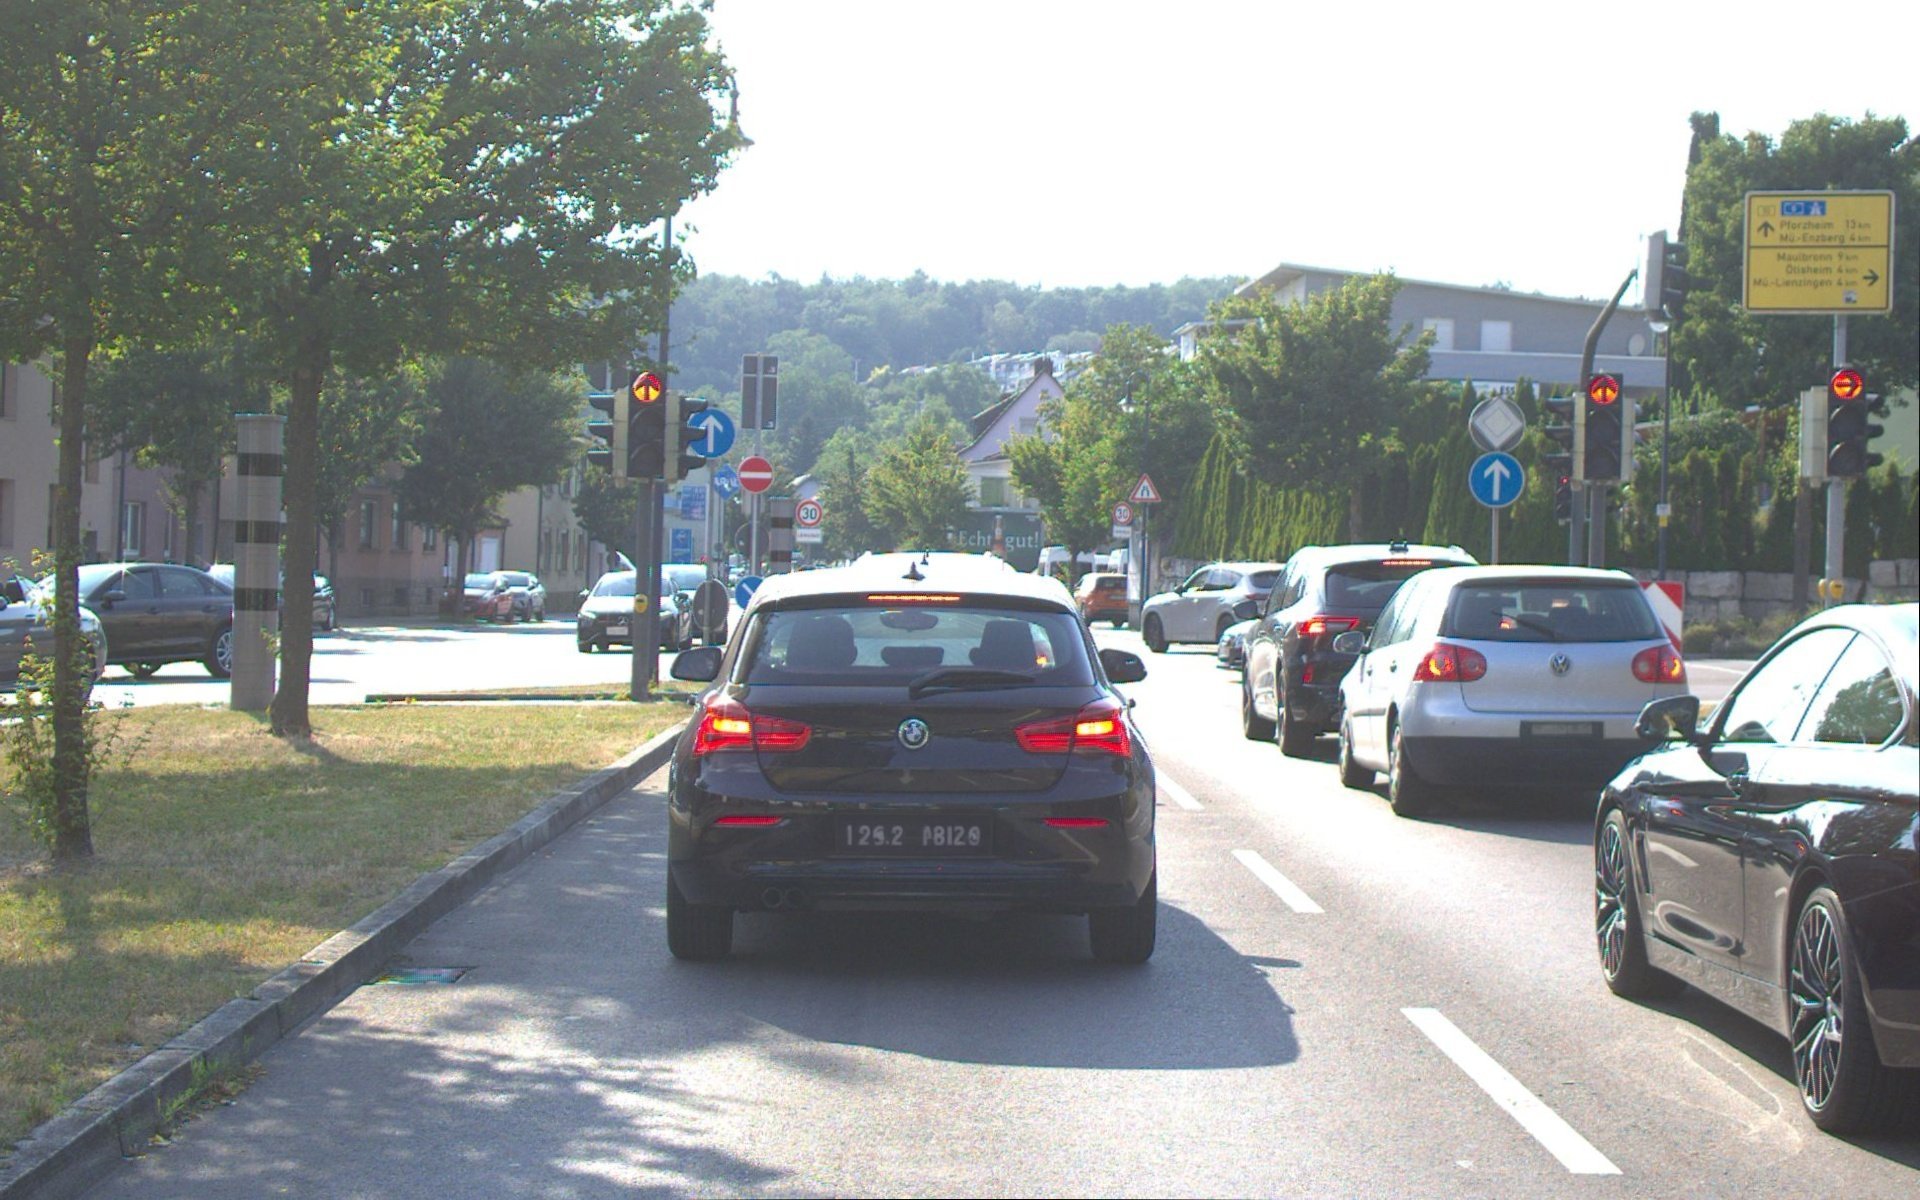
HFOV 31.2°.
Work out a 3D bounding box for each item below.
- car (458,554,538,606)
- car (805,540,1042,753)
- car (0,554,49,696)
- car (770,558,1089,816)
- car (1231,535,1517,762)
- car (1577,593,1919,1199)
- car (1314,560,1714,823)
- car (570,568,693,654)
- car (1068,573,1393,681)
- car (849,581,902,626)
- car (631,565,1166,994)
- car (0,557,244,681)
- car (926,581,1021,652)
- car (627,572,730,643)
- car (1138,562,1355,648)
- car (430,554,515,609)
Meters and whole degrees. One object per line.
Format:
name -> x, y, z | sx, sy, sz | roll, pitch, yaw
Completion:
car -> -14.778, -0.651, 110.157 | 1.924, 1.590, 4.000 | 1, 1, 1
car -> -0.259, 0.332, 28.797 | 1.816, 1.635, 4.242 | 1, 1, 1
car -> -10.001, 0.233, 32.253 | 1.780, 1.345, 4.479 | 1, 1, -1
car -> -0.151, 0.473, 21.841 | 1.816, 1.446, 4.242 | 1, 1, 1
car -> 3.249, 0.330, 27.748 | 1.816, 1.660, 4.347 | 1, 1, 1
car -> 3.087, 0.709, 10.044 | 1.816, 1.384, 4.347 | 1, 1, 1
car -> 3.317, 0.486, 21.388 | 1.816, 1.441, 4.347 | 1, 1, 1
car -> -5.905, 0.174, 62.226 | 1.766, 1.453, 4.000 | 1, 1, 1
car -> 3.656, 0.362, 46.854 | 4.175, 1.382, 1.651 | 1, 1, -5
car -> -3.146, 0.126, 129.104 | 1.924, 1.590, 4.000 | 1, 1, -1
car -> -0.183, 0.583, 13.781 | 1.790, 1.410, 4.347 | 1, 1, 1
car -> -10.935, 0.194, 41.832 | 1.846, 1.417, 4.637 | 1, 1, 27
car -> 0.302, 0.382, 86.294 | 1.890, 1.696, 4.525 | 0, 1, -6
car -> -5.690, 0.125, 69.838 | 1.693, 1.349, 4.000 | 1, 1, 1
car -> 5.275, 0.077, 63.908 | 1.861, 1.480, 4.660 | 1, 1, -26
car -> -14.813, -0.574, 104.651 | 1.924, 1.590, 4.000 | 1, 1, 1
